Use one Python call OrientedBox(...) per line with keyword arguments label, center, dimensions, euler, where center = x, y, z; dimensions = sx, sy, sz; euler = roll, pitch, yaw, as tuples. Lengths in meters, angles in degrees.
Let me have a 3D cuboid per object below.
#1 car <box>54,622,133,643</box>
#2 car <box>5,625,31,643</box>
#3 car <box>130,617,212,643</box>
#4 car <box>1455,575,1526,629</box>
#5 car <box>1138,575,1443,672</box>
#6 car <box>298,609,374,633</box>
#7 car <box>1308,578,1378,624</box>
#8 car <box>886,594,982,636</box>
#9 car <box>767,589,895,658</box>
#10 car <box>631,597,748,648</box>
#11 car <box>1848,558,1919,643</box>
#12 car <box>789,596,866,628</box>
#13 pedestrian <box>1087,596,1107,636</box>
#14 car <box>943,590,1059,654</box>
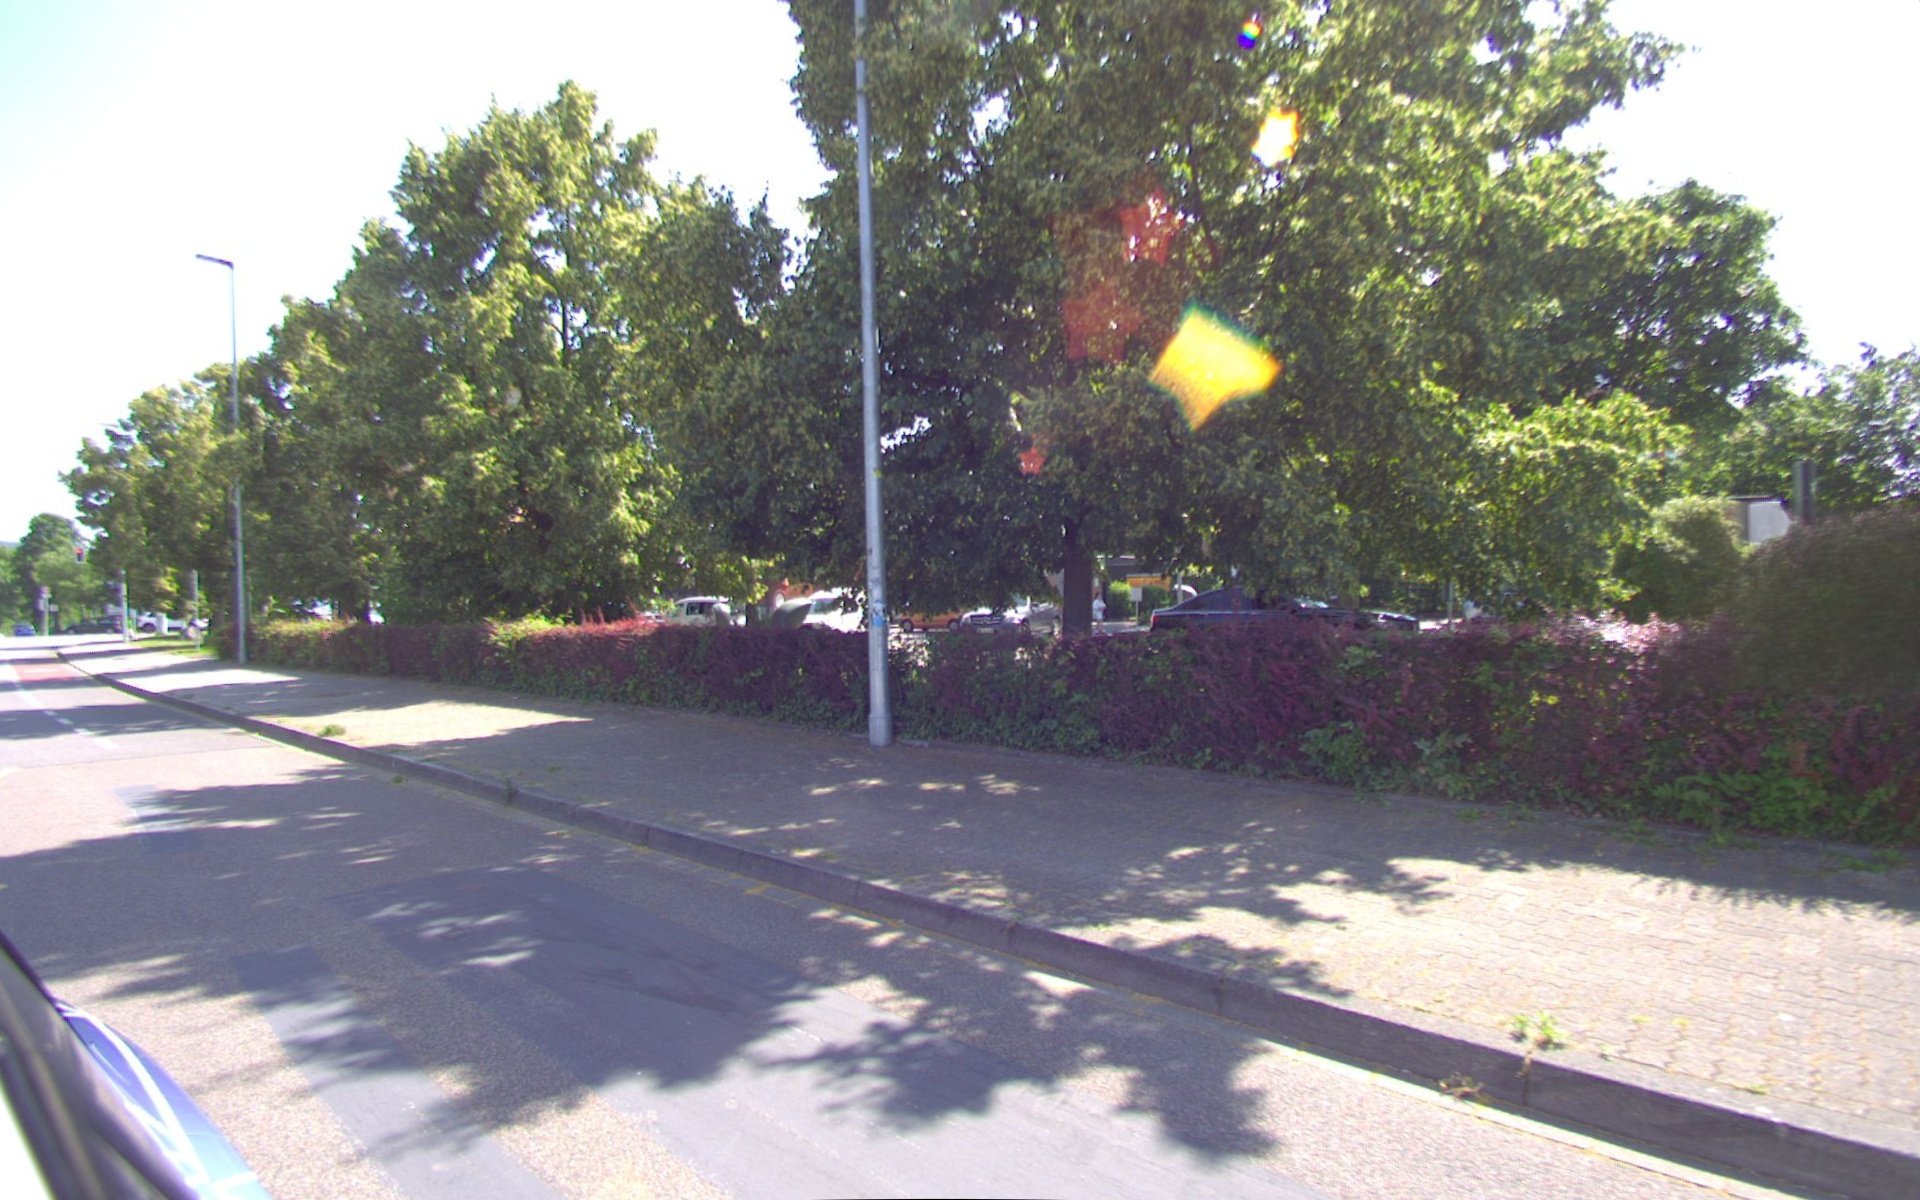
OrientedBox(label="car", center=(-68.079, 2.560, 79.586), dimensions=(4.296, 1.356, 1.838), euler=(-2, 3, -18))
OrientedBox(label="car", center=(-88.758, 3.190, 95.311), dimensions=(3.683, 1.547, 1.588), euler=(-1, 0, 44))
OrientedBox(label="car", center=(-59.576, 2.224, 76.504), dimensions=(4.504, 1.664, 1.837), euler=(-1, 3, -14))
OrientedBox(label="car", center=(16.238, 0.025, 30.965), dimensions=(1.786, 1.461, 4.009), euler=(-2, 1, 29))
OrientedBox(label="car", center=(6.043, 0.403, 18.959), dimensions=(5.032, 1.572, 2.045), euler=(-1, 0, 44))
OrientedBox(label="car", center=(-48.635, 1.630, 78.968), dimensions=(4.688, 1.664, 1.837), euler=(-1, 3, -14))
OrientedBox(label="car", center=(14.386, 0.014, 37.932), dimensions=(1.813, 1.588, 3.830), euler=(-2, 1, 31))
OrientedBox(label="car", center=(-1.089, 0.650, 42.610), dimensions=(3.710, 1.644, 1.652), euler=(-2, 1, 31))
OrientedBox(label="car", center=(-3.732, 0.643, 30.074), dimensions=(1.739, 1.841, 4.318), euler=(-3, 0, 24))
OrientedBox(label="car", center=(-10.580, 0.885, 39.629), dimensions=(4.199, 1.812, 1.747), euler=(-2, 1, 22))
OrientedBox(label="car", center=(19.855, -0.049, 20.731), dimensions=(1.636, 1.599, 3.812), euler=(-2, 1, 29))
OrientedBox(label="car", center=(-7.224, 0.628, 54.917), dimensions=(3.934, 1.606, 1.932), euler=(-2, 0, -12))
OrientedBox(label="pedestrian", center=(5.182, 0.601, 38.364), dimensions=(0.493, 1.471, 0.545), euler=(-2, 2, 33))
OrientedBox(label="car", center=(1.242, 0.592, 28.862), dimensions=(1.896, 1.595, 3.777), euler=(-2, 1, 26))
